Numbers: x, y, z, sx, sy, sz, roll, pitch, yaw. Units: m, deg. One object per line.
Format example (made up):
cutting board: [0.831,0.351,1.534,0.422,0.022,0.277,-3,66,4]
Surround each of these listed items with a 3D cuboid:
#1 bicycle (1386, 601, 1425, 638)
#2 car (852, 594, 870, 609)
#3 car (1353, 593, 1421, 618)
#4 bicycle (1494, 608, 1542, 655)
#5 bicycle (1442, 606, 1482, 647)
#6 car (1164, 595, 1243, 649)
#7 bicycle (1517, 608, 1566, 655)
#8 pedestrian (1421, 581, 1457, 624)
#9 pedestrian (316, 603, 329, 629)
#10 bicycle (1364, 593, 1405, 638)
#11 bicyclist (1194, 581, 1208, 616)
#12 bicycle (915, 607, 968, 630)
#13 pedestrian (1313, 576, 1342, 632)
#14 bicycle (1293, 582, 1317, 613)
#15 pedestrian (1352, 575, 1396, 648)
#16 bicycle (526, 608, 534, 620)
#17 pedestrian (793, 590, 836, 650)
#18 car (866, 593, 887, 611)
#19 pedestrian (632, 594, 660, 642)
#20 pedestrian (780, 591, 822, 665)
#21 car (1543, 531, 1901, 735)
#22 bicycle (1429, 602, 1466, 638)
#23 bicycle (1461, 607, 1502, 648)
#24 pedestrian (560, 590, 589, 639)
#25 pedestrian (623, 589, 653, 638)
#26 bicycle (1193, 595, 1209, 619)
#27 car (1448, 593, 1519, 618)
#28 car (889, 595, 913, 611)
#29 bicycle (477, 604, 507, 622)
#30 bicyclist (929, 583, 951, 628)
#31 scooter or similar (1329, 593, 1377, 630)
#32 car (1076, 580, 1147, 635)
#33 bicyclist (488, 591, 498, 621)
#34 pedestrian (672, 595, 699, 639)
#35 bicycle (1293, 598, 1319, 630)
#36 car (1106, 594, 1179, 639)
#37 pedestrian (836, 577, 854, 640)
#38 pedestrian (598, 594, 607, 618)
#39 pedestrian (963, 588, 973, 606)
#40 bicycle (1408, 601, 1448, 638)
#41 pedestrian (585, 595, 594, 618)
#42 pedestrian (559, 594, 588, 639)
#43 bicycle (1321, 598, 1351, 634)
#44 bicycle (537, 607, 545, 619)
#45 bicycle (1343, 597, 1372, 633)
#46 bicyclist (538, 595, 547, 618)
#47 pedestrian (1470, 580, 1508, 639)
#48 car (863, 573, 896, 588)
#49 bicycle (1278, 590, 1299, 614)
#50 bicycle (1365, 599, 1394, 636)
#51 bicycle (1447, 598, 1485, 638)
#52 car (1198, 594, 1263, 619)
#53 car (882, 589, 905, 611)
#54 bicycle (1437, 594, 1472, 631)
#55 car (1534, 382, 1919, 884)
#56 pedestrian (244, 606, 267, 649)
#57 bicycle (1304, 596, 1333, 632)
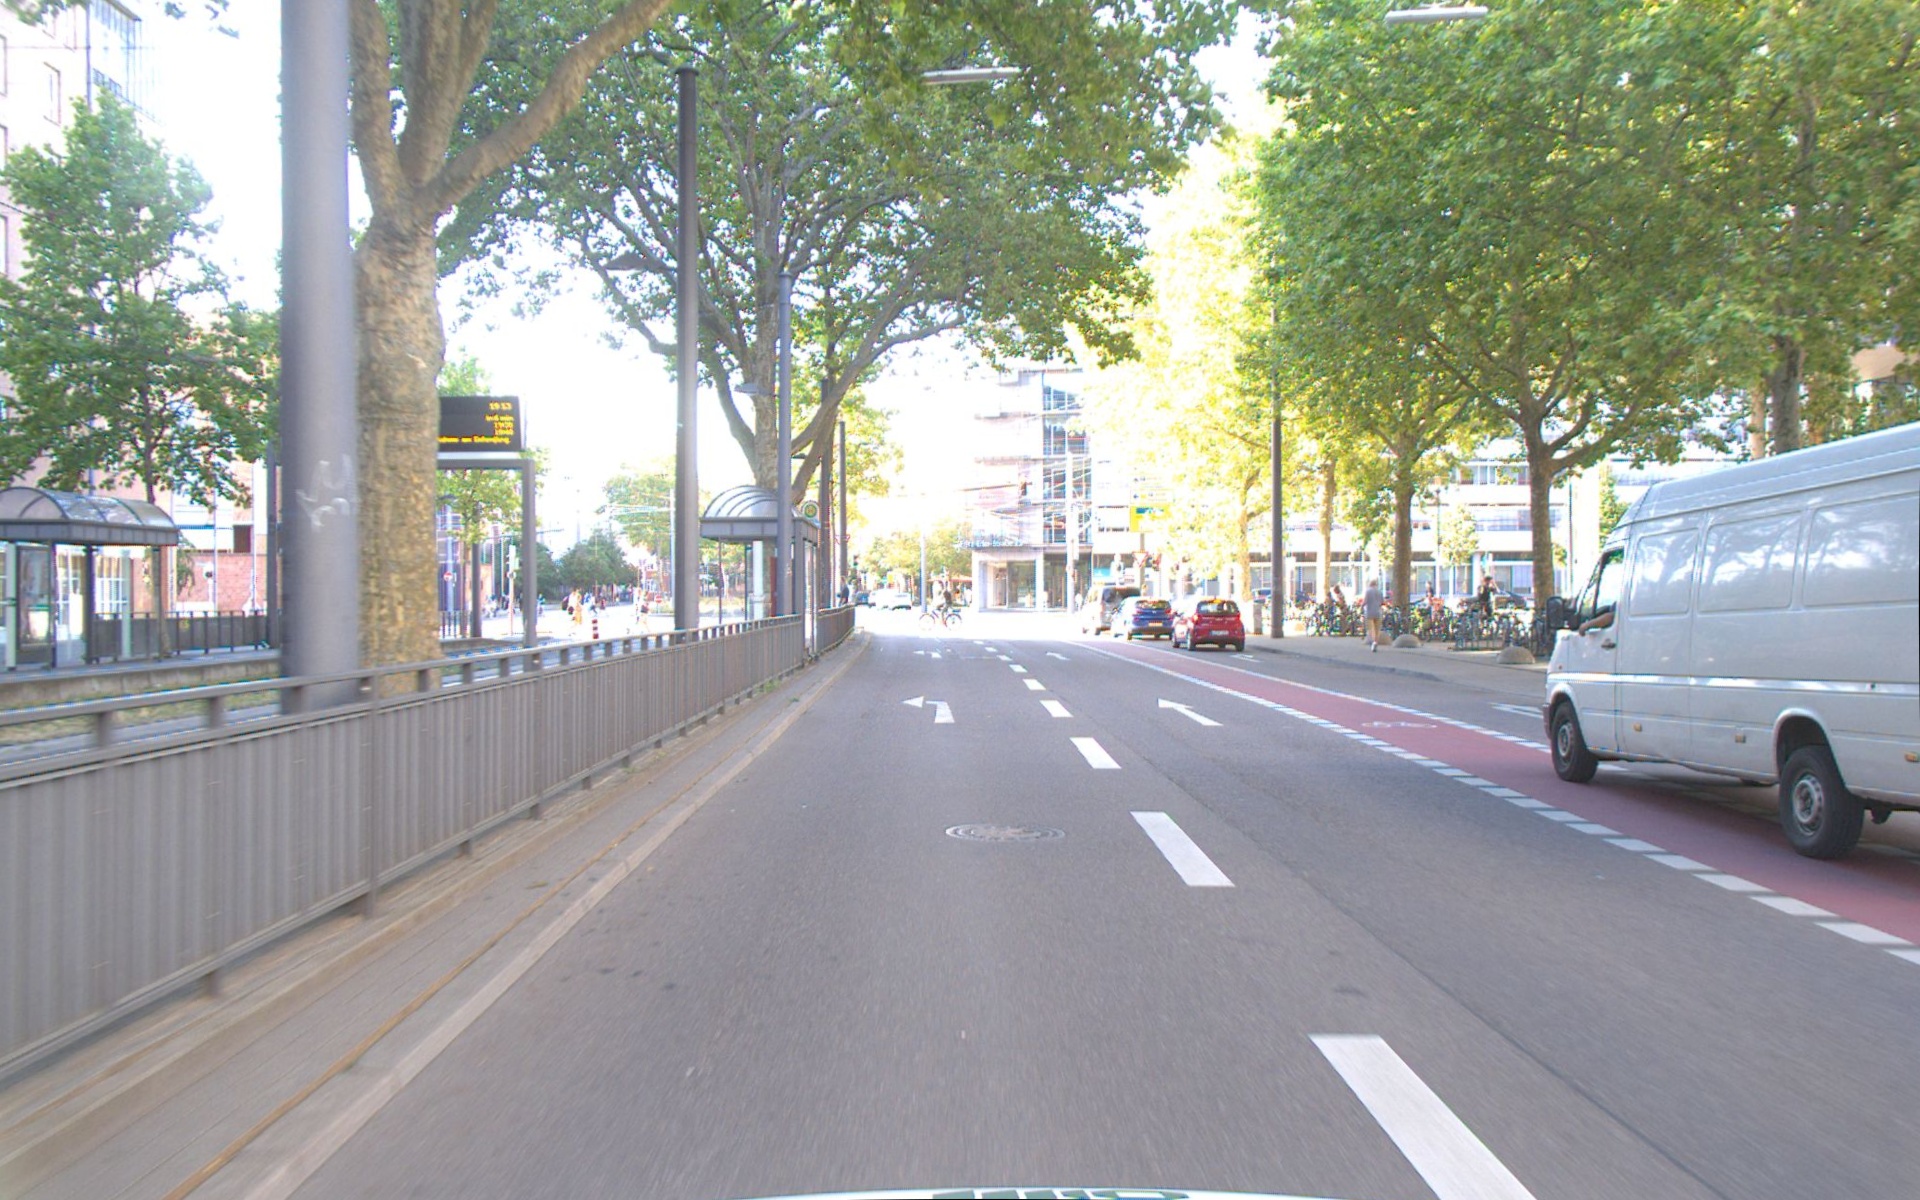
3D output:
bicycle: [13.070,0.562,48.558,0.584,1.050,1.653,-1,0,-4]
car: [-11.317,0.124,188.738,1.954,1.691,3.996,-1,0,-4]
car: [28.530,0.374,110.576,4.153,1.587,1.796,-1,0,2]
bicycle: [12.521,0.690,37.125,0.441,0.997,1.762,-1,0,-1]
bicycle: [12.748,0.673,41.997,0.441,0.997,1.762,-1,0,-1]
car: [7.026,0.605,47.994,1.528,1.490,3.618,0,0,-4]
bicycle: [13.059,0.700,37.201,0.441,0.997,1.762,-1,0,-1]
pedestrian: [21.309,0.110,73.549,1.186,1.854,1.039,1,-1,-10]
pedestrian: [-41.465,1.029,107.556,0.532,1.641,0.570,-1,0,27]
bicycle: [12.412,0.439,48.439,0.584,1.286,1.875,-1,0,-4]
bicyclist: [11.492,-0.059,78.918,0.550,1.644,0.822,-1,0,2]
bicycle: [-0.778,0.762,68.371,2.135,0.950,0.667,0,0,-6]
pedestrian: [11.961,0.124,53.838,0.789,1.817,0.657,-1,0,22]
bicycle: [14.710,-0.108,70.595,0.441,1.309,1.885,-1,0,-6]
pedestrian: [10.525,0.285,42.075,0.854,1.817,0.808,-1,0,-3]
bicycle: [-32.676,1.028,125.663,0.503,0.897,1.834,-1,0,-12]
pedestrian: [-3.554,0.485,40.448,0.956,1.424,0.664,1,-1,0]
car: [-8.447,0.201,167.097,1.954,1.691,3.996,-1,0,-4]
pedestrian: [-12.146,0.681,64.039,1.052,1.837,0.756,1,-1,-11]
pedestrian: [-3.100,0.542,32.236,0.719,1.412,0.640,1,-1,1]
car: [9.151,0.347,20.481,2.079,2.171,5.290,-1,0,1]
bicycle: [14.342,0.583,48.712,0.492,1.050,1.653,-1,0,-4]
bicycle: [13.267,0.683,42.106,0.441,0.997,1.762,-1,0,-1]
pedestrian: [-14.973,0.555,64.280,1.054,1.904,0.737,1,-1,-11]
pedestrian: [-12.648,0.533,64.922,1.125,1.927,0.831,1,-1,-11]
bicycle: [11.495,0.334,78.944,0.554,1.146,1.779,-1,0,2]
car: [35.063,0.347,110.841,4.153,1.587,1.796,-1,0,2]
car: [-5.171,0.254,145.166,1.954,1.355,3.996,-1,0,-4]
bicycle: [-33.280,0.916,117.675,2.077,1.261,0.447,-1,0,-40]
bicyclist: [-0.831,0.215,68.370,0.833,1.816,0.752,-1,0,-5]
scooter or similar: [13.143,0.406,55.340,1.233,1.162,0.912,3,-3,-18]
car: [5.873,0.277,64.756,1.954,2.000,5.133,1,0,-4]
bicyclist: [-33.238,0.435,117.714,0.557,2.096,0.445,-1,0,-39]
pedestrian: [-11.071,0.678,66.752,1.053,1.745,0.627,1,-1,-8]
bicycle: [12.124,0.484,57.950,0.614,1.075,1.572,-1,0,2]
car: [6.385,0.567,58.167,1.730,1.490,4.212,-1,0,-5]
pedestrian: [-3.569,0.277,51.392,0.499,1.933,0.759,1,-1,-3]
pedestrian: [-25.957,0.435,120.081,0.529,1.679,0.621,-1,0,-23]
pedestrian: [0.682,-0.248,137.887,0.725,1.491,0.536,-1,0,-6]
bicycle: [13.754,0.575,48.648,0.584,1.050,1.653,-1,0,-4]
pedestrian: [-26.797,0.469,119.698,0.529,1.679,0.621,-1,0,-23]
pedestrian: [-14.844,0.648,63.535,1.053,1.711,0.756,1,-1,-11]
bicycle: [12.173,0.509,53.537,0.583,1.135,1.948,-1,0,23]
bicycle: [-31.901,0.996,126.028,0.503,0.897,1.834,-1,0,-12]
bicycle: [12.813,0.479,53.305,0.583,1.135,1.825,-1,0,23]
bicyclist: [-31.808,0.474,126.096,0.582,1.705,0.787,-1,0,-10]
pedestrian: [16.191,0.286,50.652,0.803,1.788,0.768,-1,0,-12]
car: [-9.923,-2.403,203.633,3.681,1.780,1.783,1,-1,10]
bicycle: [13.976,0.075,70.361,0.441,1.000,1.475,-1,0,-6]
bicycle: [13.472,0.564,53.082,0.594,1.135,1.825,-1,0,23]
bicycle: [14.895,0.524,48.747,0.492,1.157,1.653,-1,0,-4]
car: [18.203,0.452,111.289,4.152,1.630,1.796,-1,0,3]
car: [-6.122,-0.020,152.118,1.954,2.026,3.996,-1,0,-4]
bicycle: [16.099,0.390,53.834,0.413,1.180,1.472,-1,0,-12]
car: [6.255,0.191,11.800,1.953,2.772,6.560,1,0,-1]
pedestrian: [-27.329,1.068,64.182,0.578,1.612,0.724,2,-1,-5]
bicycle: [11.776,0.451,54.263,0.583,1.135,1.825,-1,0,23]
